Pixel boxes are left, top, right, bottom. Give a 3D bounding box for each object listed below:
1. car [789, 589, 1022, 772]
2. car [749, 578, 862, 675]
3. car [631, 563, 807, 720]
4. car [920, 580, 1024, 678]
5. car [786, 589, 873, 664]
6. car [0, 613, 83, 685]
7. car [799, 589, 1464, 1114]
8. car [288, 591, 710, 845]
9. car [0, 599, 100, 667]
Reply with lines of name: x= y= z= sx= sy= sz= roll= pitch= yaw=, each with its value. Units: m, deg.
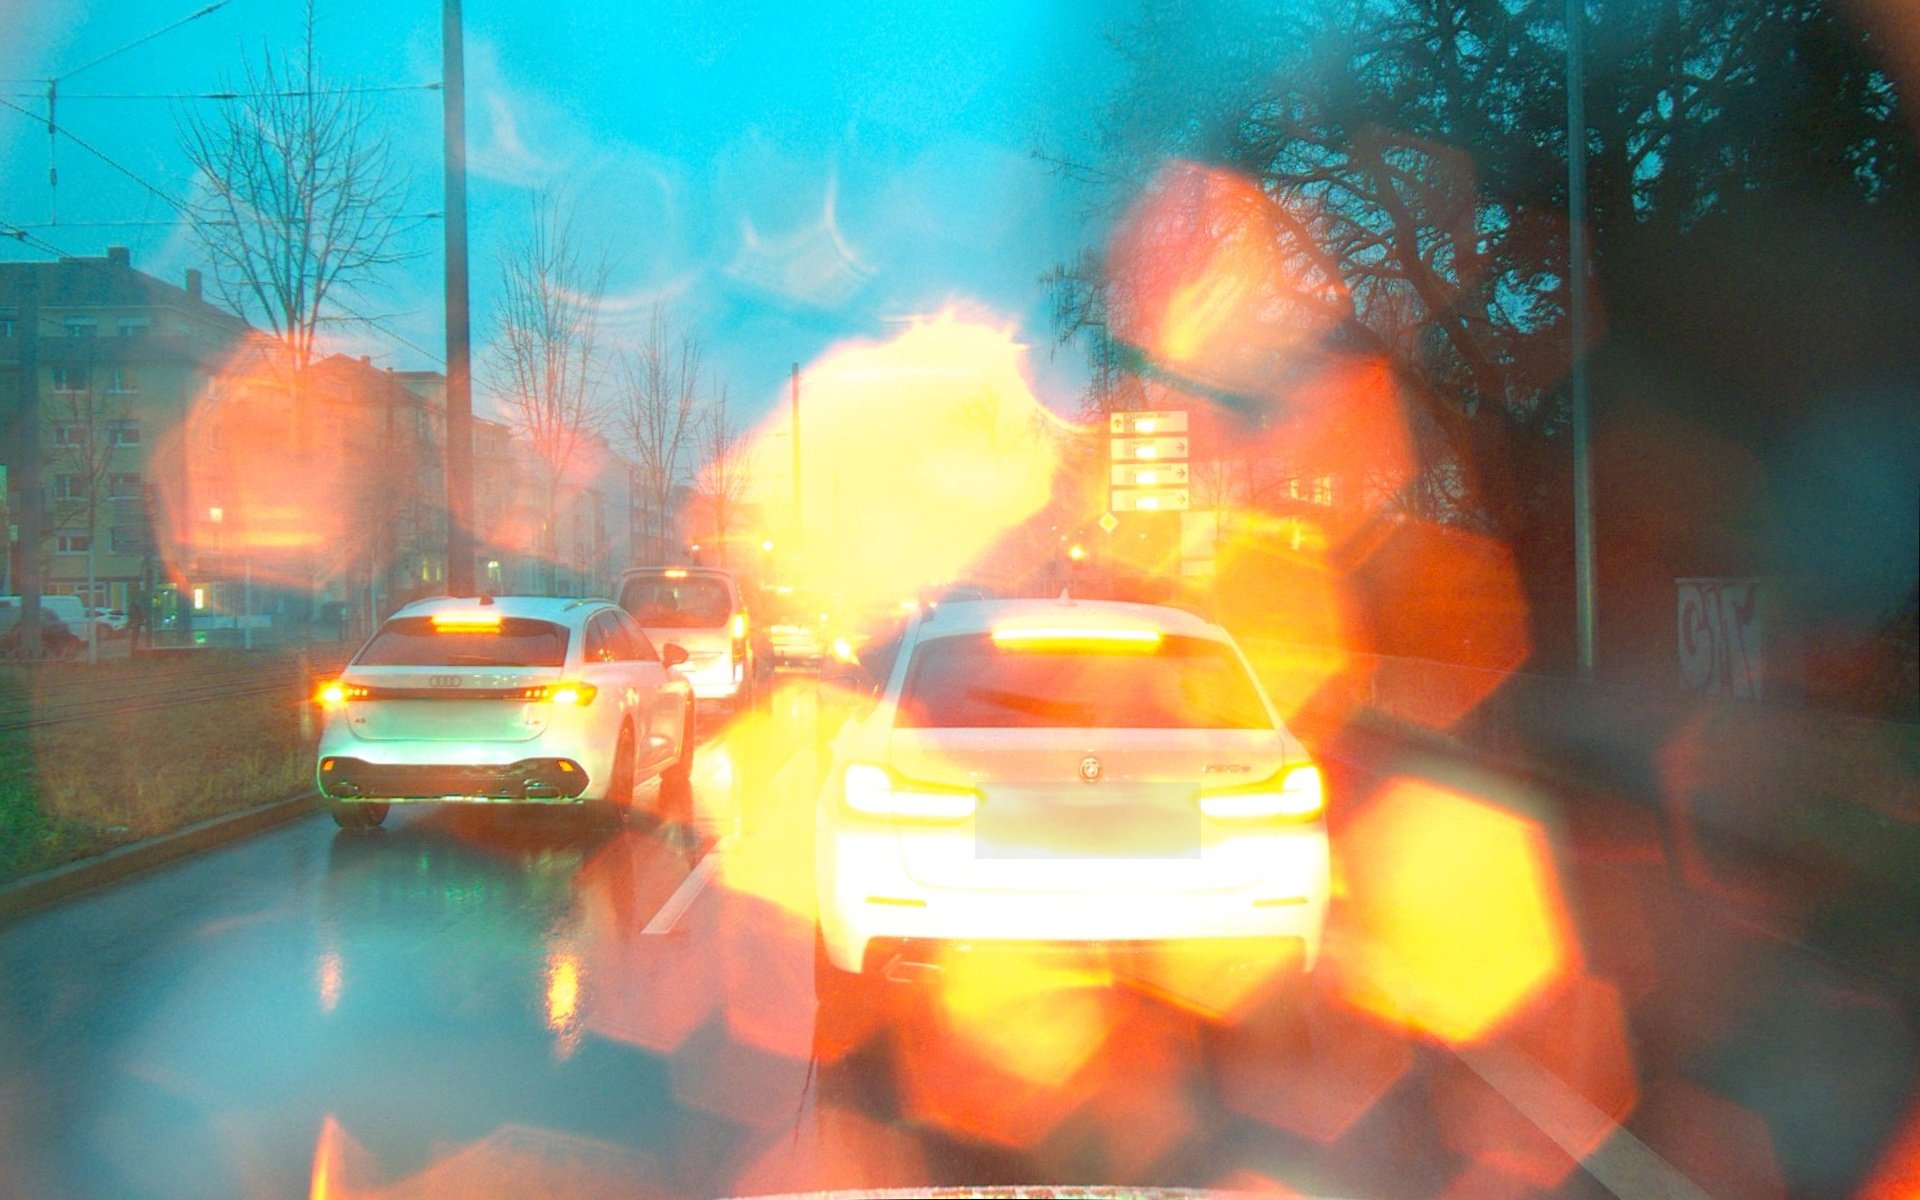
car: x=-0.473 y=0.639 z=15.536 sx=1.896 sy=1.483 sz=4.163 roll=0 pitch=0 yaw=-1
car: x=-2.796 y=0.450 z=30.749 sx=1.770 sy=1.674 sz=3.999 roll=0 pitch=0 yaw=-1
car: x=-2.941 y=0.472 z=20.999 sx=1.757 sy=1.766 sz=4.535 roll=0 pitch=0 yaw=-3
car: x=0.187 y=0.479 z=30.156 sx=1.770 sy=1.674 sz=3.999 roll=0 pitch=0 yaw=-1
car: x=-3.037 y=0.574 z=39.128 sx=1.770 sy=1.674 sz=3.999 roll=0 pitch=0 yaw=-1
car: x=-24.103 y=1.216 z=41.441 sx=1.857 sy=1.662 sz=4.579 roll=-1 pitch=0 yaw=-1
car: x=0.480 y=0.723 z=6.946 sx=1.958 sy=1.534 sz=4.163 roll=0 pitch=0 yaw=-1
car: x=-2.951 y=0.674 z=11.669 sx=1.809 sy=1.430 sz=4.612 roll=0 pitch=0 yaw=-2
car: x=-28.583 y=0.984 z=49.523 sx=1.951 sy=1.945 sz=5.167 roll=-1 pitch=0 yaw=16
